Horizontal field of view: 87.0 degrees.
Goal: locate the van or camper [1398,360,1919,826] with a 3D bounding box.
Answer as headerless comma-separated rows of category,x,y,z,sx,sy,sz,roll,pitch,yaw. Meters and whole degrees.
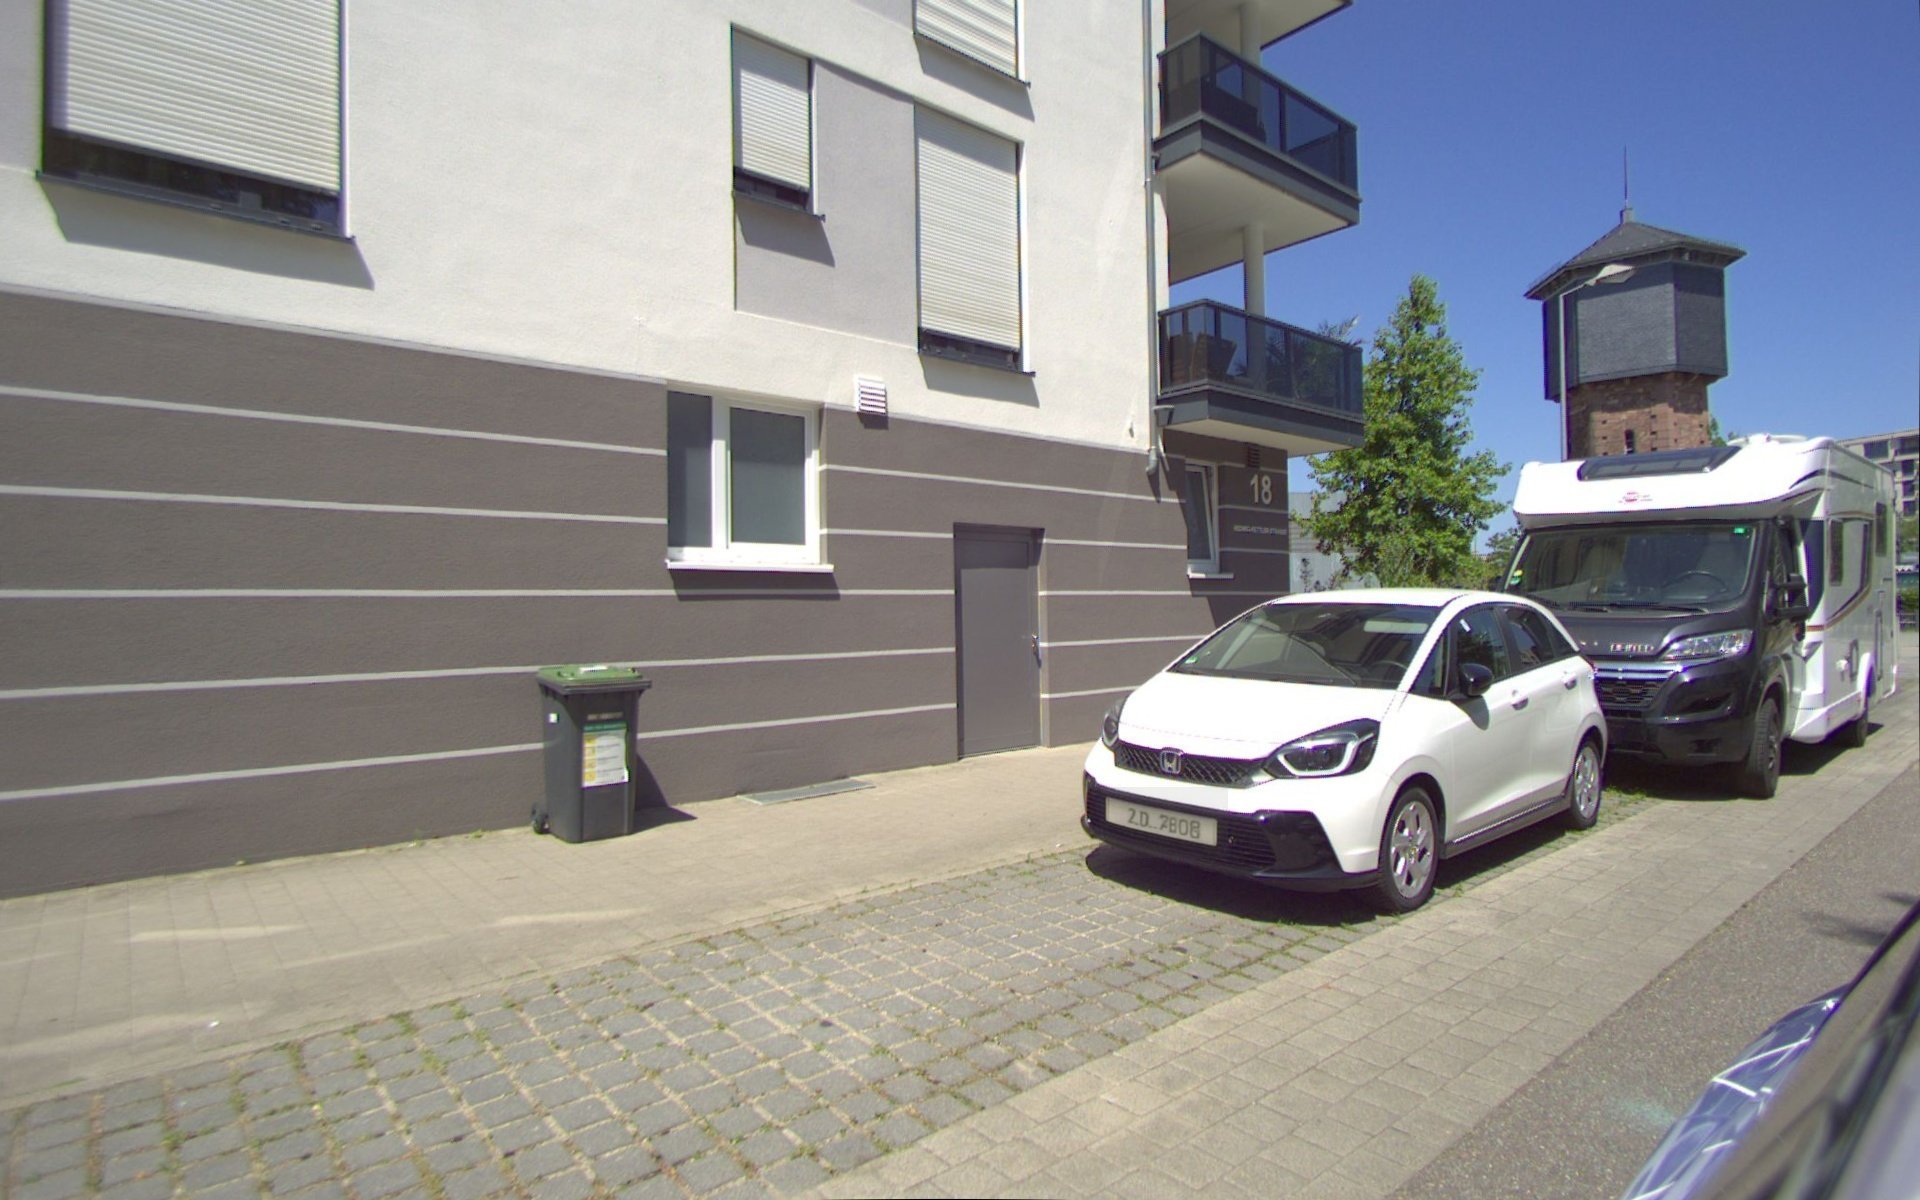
van or camper,7.293,-0.082,9.859,7.692,2.943,2.442,-1,-1,-42

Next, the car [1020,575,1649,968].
car,2.456,0.641,6.017,4.188,1.524,1.809,-1,1,-42

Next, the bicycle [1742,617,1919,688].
bicycle,13.450,0.781,15.734,2.022,1.016,0.863,0,0,38
